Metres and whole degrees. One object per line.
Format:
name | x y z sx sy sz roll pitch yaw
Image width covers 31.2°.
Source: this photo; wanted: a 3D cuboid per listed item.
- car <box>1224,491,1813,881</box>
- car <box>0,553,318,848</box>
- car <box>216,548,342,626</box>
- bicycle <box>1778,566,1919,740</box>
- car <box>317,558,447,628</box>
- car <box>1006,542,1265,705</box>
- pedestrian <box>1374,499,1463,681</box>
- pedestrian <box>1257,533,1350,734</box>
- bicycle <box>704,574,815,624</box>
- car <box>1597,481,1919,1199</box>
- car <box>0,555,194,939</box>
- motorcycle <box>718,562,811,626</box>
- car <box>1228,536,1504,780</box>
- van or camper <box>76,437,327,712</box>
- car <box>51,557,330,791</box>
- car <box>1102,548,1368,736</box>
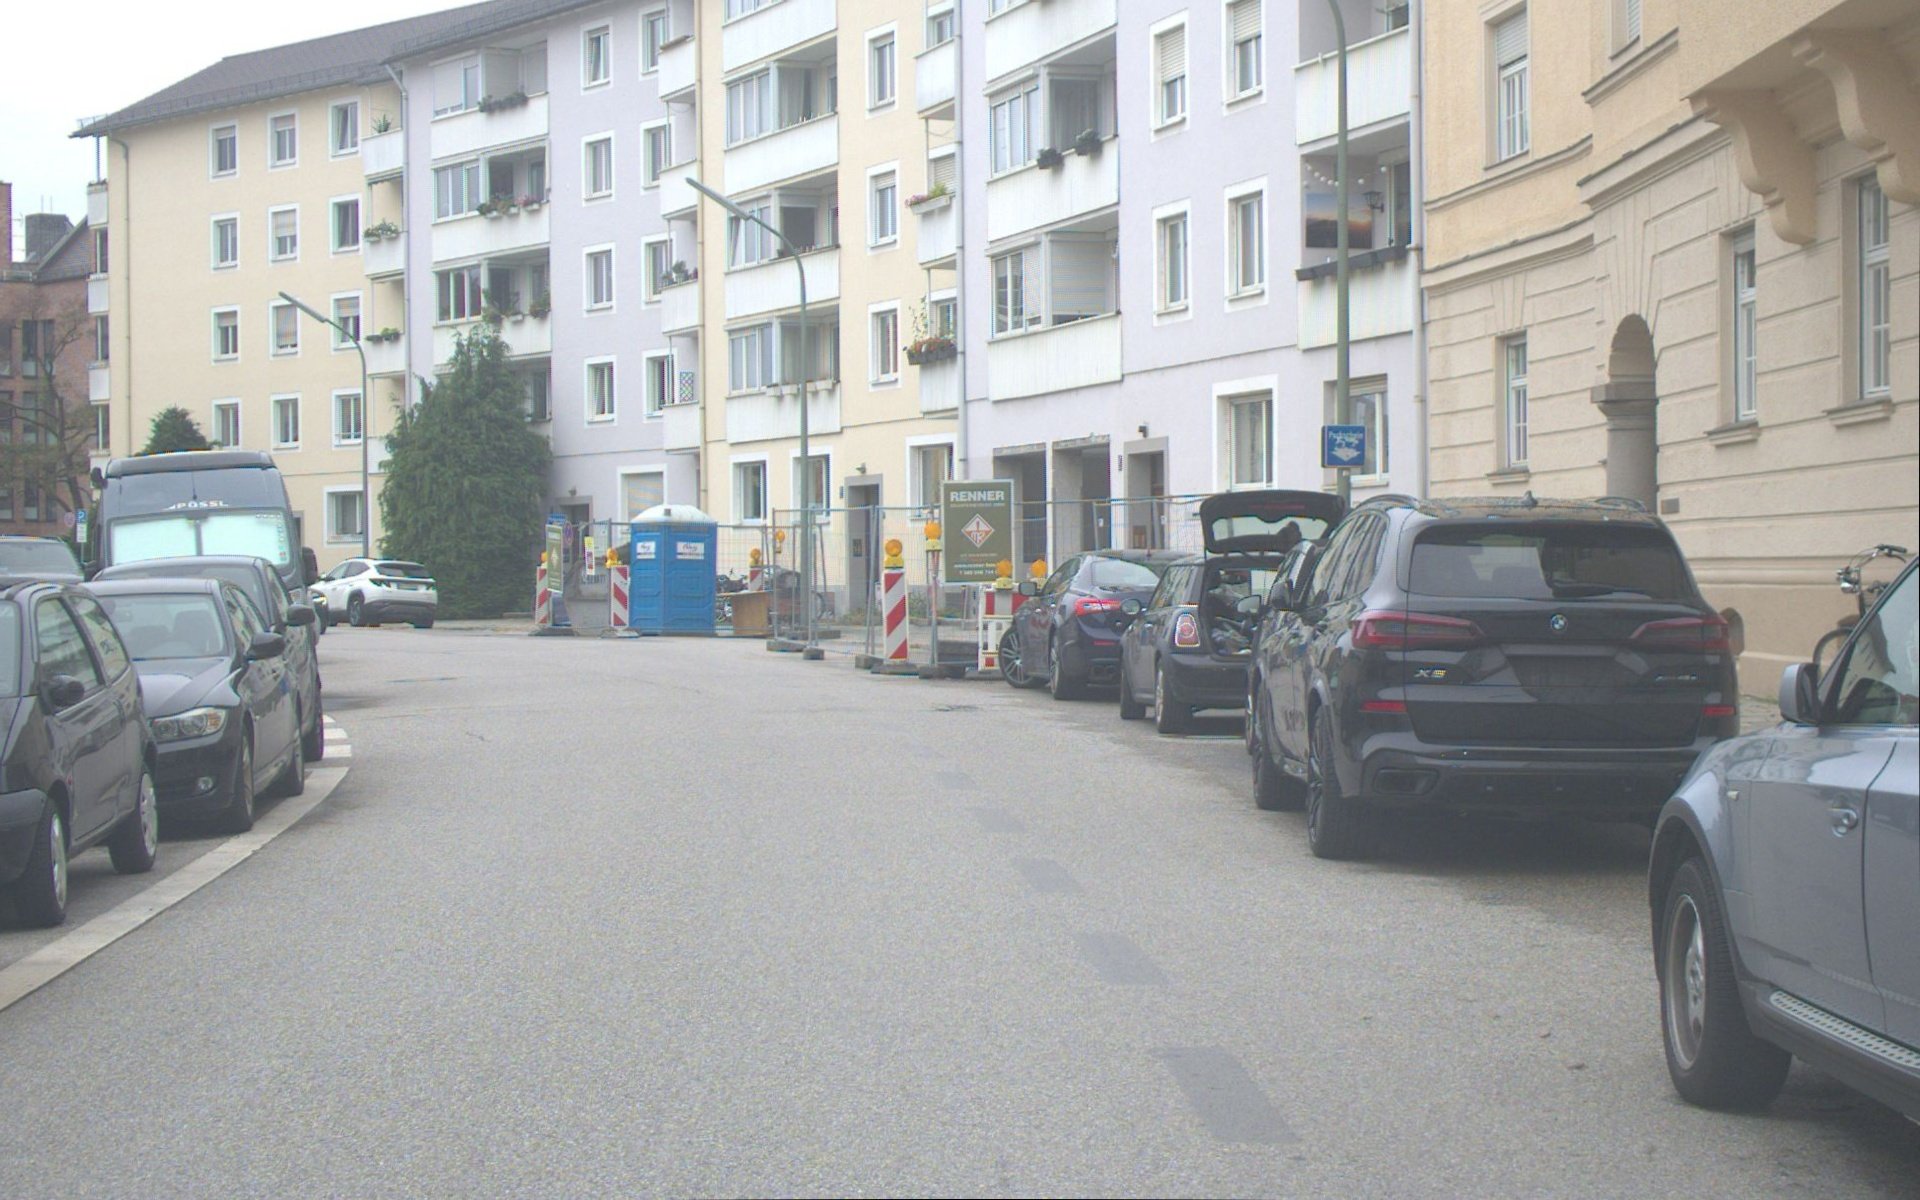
car | 2.709 0.337 17.985 2.170 1.733 5.024 1 1 -1
car | -4.868 0.500 20.105 1.773 1.460 4.467 -3 1 -6
car | -13.683 -0.258 68.879 1.919 1.407 4.705 -4 1 -17
bicycle | 5.880 0.319 22.505 0.502 1.045 2.138 -3 1 0
car | -13.494 -0.180 80.070 1.830 1.568 4.000 0 1 -28
car | 1.669 0.180 34.454 1.908 1.472 4.947 1 1 -5
pedestrian | 4.377 -0.100 32.887 0.617 1.684 0.919 -3 1 -1
pedestrian | 2.640 0.252 26.447 0.628 1.523 0.578 1 1 -2
bicycle | -4.355 -0.024 74.786 2.232 1.066 0.920 0 1 -25
car | 2.877 0.575 7.810 1.846 1.658 4.499 0 1 -2
car | -4.568 0.589 15.276 1.630 1.489 3.604 -3 1 -3
motorcycle | -3.811 -0.129 66.769 0.931 1.217 2.507 0 1 -25
car | 2.725 0.347 23.592 1.514 1.549 3.019 1 1 0
van or camper | -7.804 -0.304 35.366 2.296 2.572 6.088 0 1 -13
car | -5.345 0.467 24.151 1.519 1.460 2.887 -3 1 -6
car | 2.186 0.295 28.192 1.630 1.412 3.680 1 1 -4
